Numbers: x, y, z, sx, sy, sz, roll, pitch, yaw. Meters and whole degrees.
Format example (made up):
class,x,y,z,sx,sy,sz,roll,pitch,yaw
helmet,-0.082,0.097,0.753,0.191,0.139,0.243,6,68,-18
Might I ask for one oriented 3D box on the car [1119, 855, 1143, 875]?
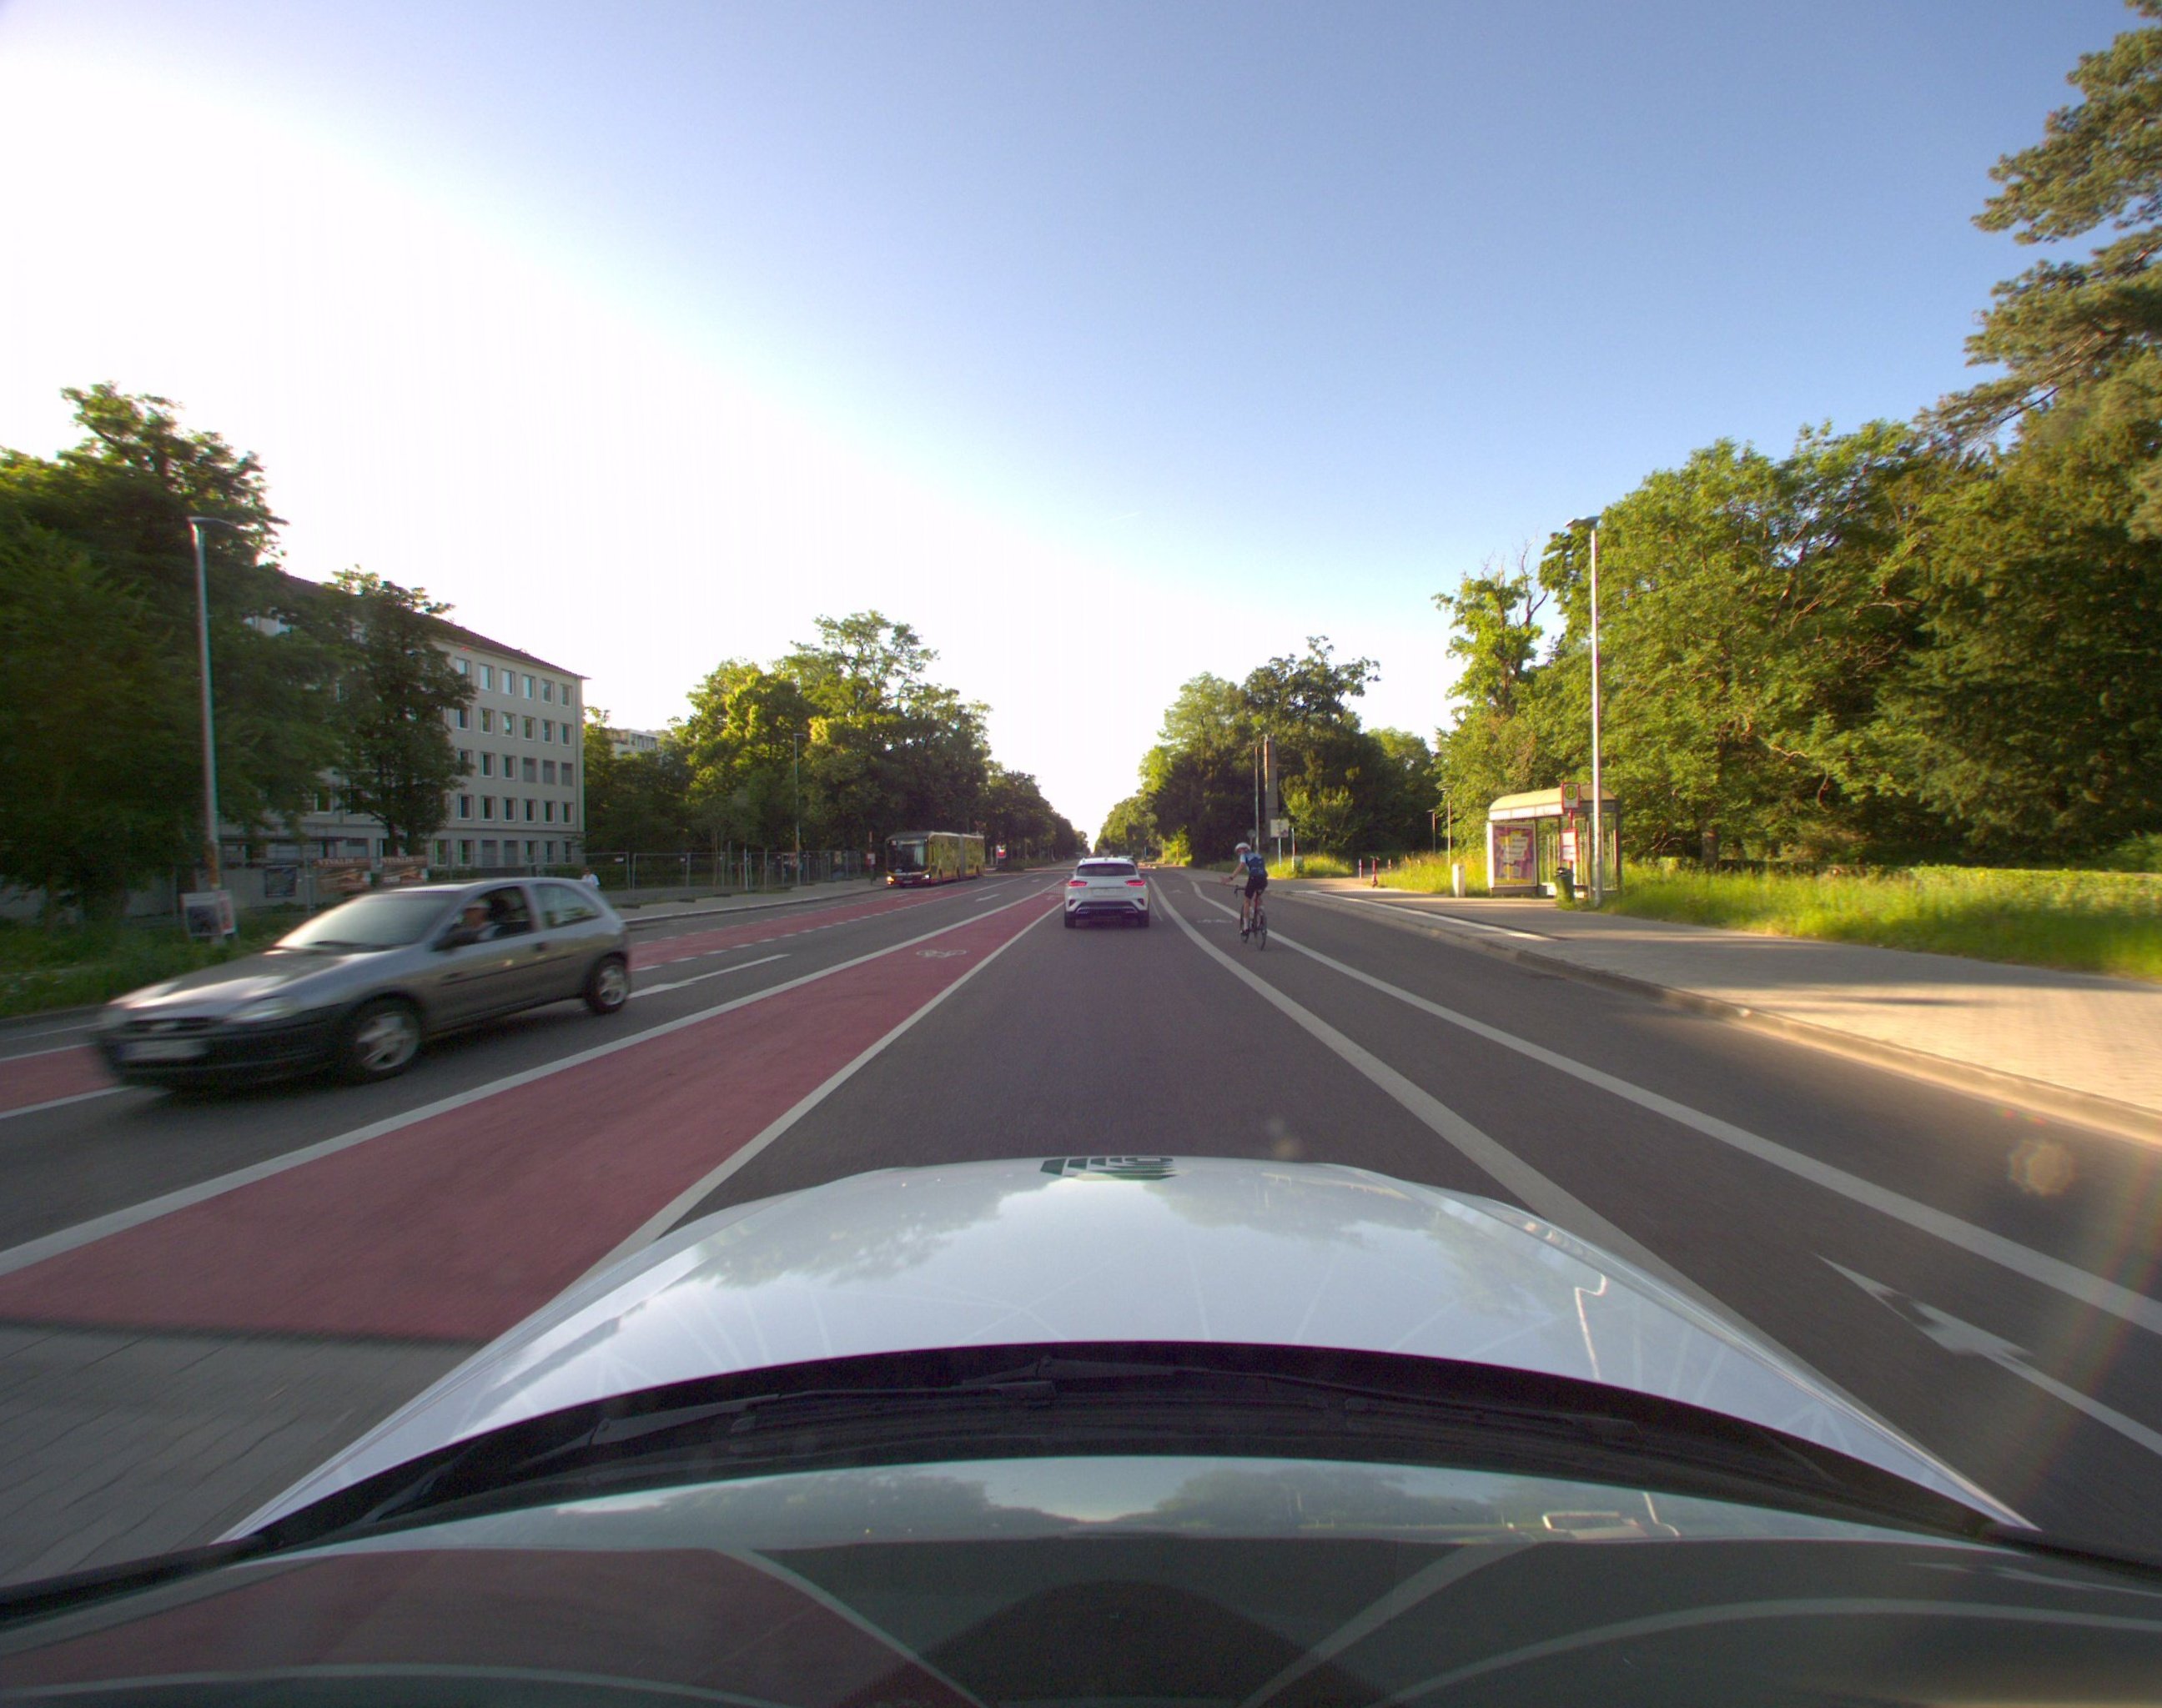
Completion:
class,x,y,z,sx,sy,sz,roll,pitch,yaw
car,3.785,0.795,61.210,1.668,1.417,3.578,-2,0,5

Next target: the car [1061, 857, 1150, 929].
class,x,y,z,sx,sy,sz,roll,pitch,yaw
car,0.454,0.807,18.541,1.757,1.459,3.814,1,0,-2

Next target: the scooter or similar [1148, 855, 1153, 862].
class,x,y,z,sx,sy,sz,roll,pitch,yaw
scooter or similar,13.924,0.858,163.308,0.682,1.423,1.674,-1,0,-12

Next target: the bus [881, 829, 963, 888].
class,x,y,z,sx,sy,sz,roll,pitch,yaw
bus,-9.544,0.258,50.038,2.828,3.196,8.607,-1,0,3

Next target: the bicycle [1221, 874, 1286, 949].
class,x,y,z,sx,sy,sz,roll,pitch,yaw
bicycle,2.855,0.906,13.673,0.886,1.095,2.140,0,0,7

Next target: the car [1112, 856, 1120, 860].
class,x,y,z,sx,sy,sz,roll,pitch,yaw
car,10.378,1.168,241.858,1.987,1.327,4.000,-1,0,1

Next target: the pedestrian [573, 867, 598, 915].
class,x,y,z,sx,sy,sz,roll,pitch,yaw
pedestrian,-15.985,1.184,26.277,0.450,1.534,0.571,-1,0,-2

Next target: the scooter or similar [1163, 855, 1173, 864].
class,x,y,z,sx,sy,sz,roll,pitch,yaw
scooter or similar,12.368,0.831,115.741,1.550,1.250,0.528,-1,0,-42

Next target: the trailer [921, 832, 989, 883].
class,x,y,z,sx,sy,sz,roll,pitch,yaw
trailer,-8.937,0.253,59.043,2.842,3.355,9.371,1,0,4

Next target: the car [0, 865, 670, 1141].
class,x,y,z,sx,sy,sz,roll,pitch,yaw
car,-5.585,0.875,6.810,1.703,1.421,4.558,-3,0,3

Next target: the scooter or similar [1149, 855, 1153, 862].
class,x,y,z,sx,sy,sz,roll,pitch,yaw
scooter or similar,13.762,0.857,159.358,0.679,1.423,1.682,-1,0,1

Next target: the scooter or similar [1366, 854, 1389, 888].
class,x,y,z,sx,sy,sz,roll,pitch,yaw
scooter or similar,11.599,0.654,31.845,0.715,1.247,1.336,-1,0,25

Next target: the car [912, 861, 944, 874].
class,x,y,z,sx,sy,sz,roll,pitch,yaw
car,-17.679,1.537,94.229,1.542,1.400,3.513,-4,-1,33

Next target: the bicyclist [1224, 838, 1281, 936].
class,x,y,z,sx,sy,sz,roll,pitch,yaw
bicyclist,2.828,0.519,13.511,0.855,1.567,0.883,0,0,6

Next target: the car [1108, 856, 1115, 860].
class,x,y,z,sx,sy,sz,roll,pitch,yaw
car,9.676,1.217,257.570,1.989,1.327,3.996,-1,0,-2
